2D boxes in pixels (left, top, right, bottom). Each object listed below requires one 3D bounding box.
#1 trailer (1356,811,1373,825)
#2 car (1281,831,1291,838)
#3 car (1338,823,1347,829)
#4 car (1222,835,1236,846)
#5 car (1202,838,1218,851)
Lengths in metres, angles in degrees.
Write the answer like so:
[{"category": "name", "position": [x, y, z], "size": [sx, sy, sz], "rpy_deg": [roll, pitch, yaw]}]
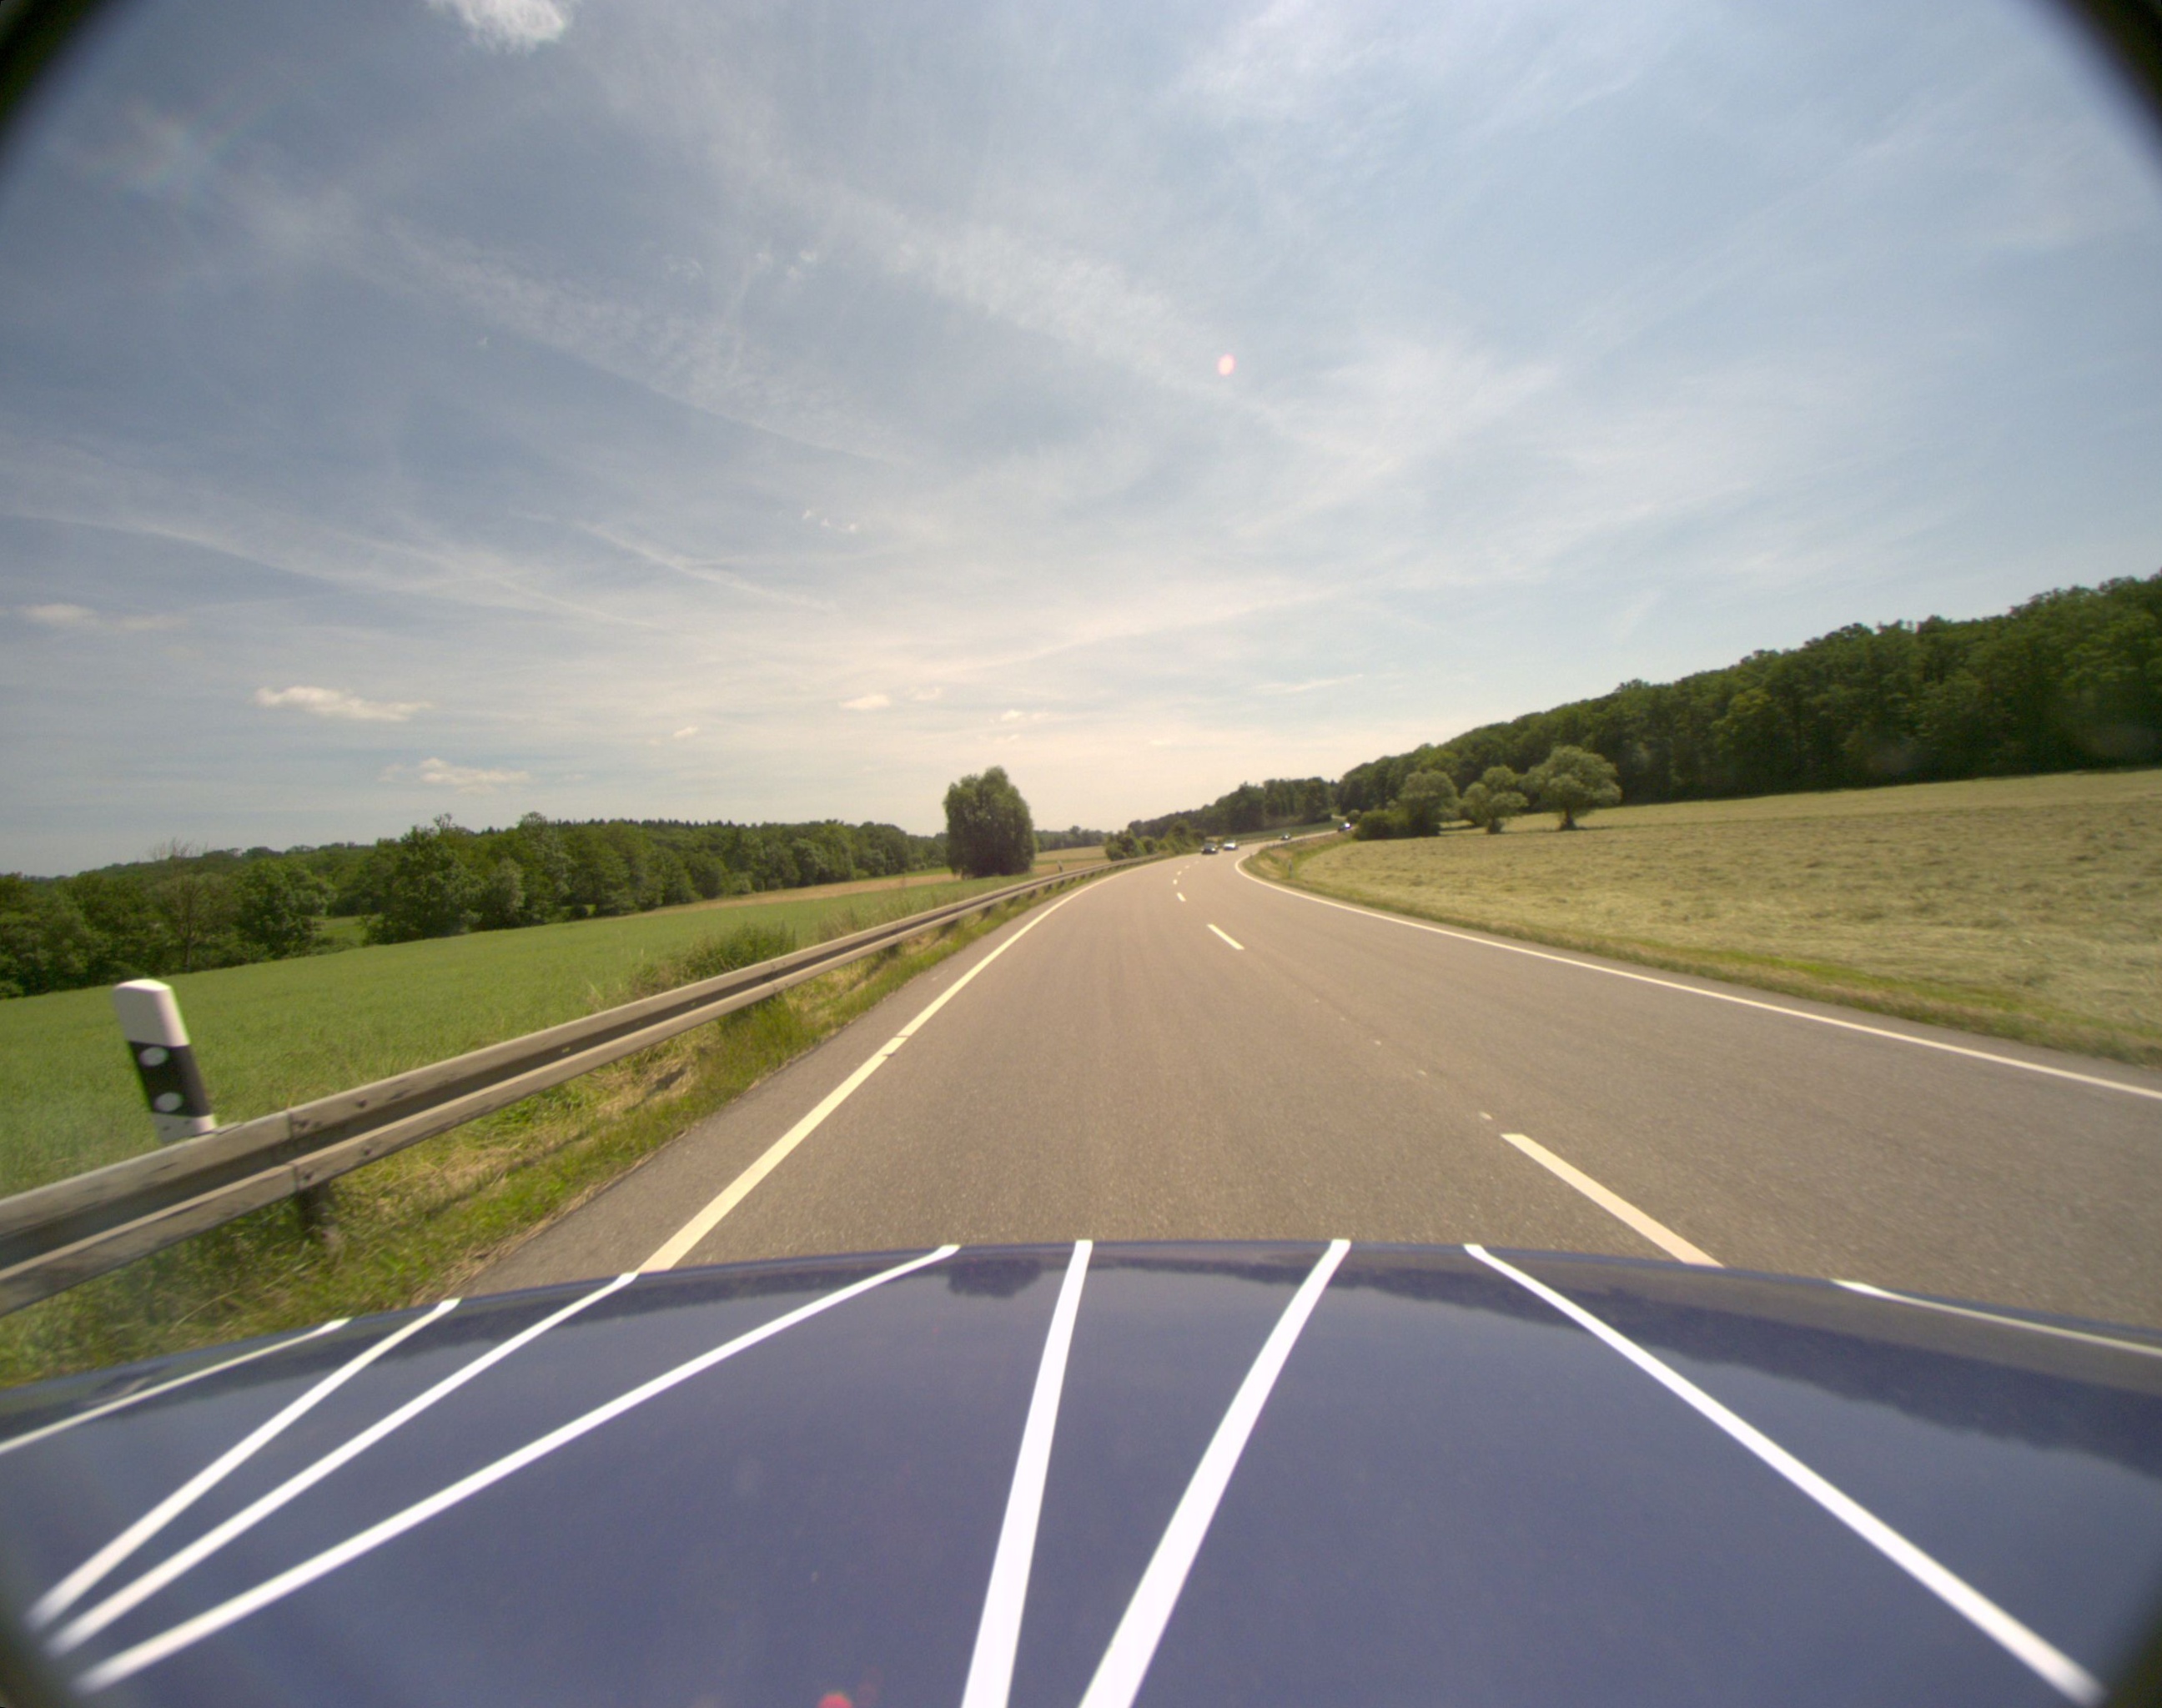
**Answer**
[{"category": "trailer", "position": [88.226, -11.376, 236.266], "size": [3.243, 4.127, 14.463], "rpy_deg": [0, 3, 28]}, {"category": "car", "position": [43.405, -4.147, 160.810], "size": [1.619, 1.428, 3.447], "rpy_deg": [-3, 2, 24]}, {"category": "car", "position": [68.601, -7.267, 199.259], "size": [1.701, 1.461, 4.206], "rpy_deg": [-1, 2, 25]}, {"category": "car", "position": [22.634, -2.025, 116.228], "size": [1.619, 1.428, 3.446], "rpy_deg": [-3, 2, 18]}, {"category": "car", "position": [16.947, -1.244, 100.009], "size": [1.620, 1.428, 3.446], "rpy_deg": [-3, 2, 16]}]
